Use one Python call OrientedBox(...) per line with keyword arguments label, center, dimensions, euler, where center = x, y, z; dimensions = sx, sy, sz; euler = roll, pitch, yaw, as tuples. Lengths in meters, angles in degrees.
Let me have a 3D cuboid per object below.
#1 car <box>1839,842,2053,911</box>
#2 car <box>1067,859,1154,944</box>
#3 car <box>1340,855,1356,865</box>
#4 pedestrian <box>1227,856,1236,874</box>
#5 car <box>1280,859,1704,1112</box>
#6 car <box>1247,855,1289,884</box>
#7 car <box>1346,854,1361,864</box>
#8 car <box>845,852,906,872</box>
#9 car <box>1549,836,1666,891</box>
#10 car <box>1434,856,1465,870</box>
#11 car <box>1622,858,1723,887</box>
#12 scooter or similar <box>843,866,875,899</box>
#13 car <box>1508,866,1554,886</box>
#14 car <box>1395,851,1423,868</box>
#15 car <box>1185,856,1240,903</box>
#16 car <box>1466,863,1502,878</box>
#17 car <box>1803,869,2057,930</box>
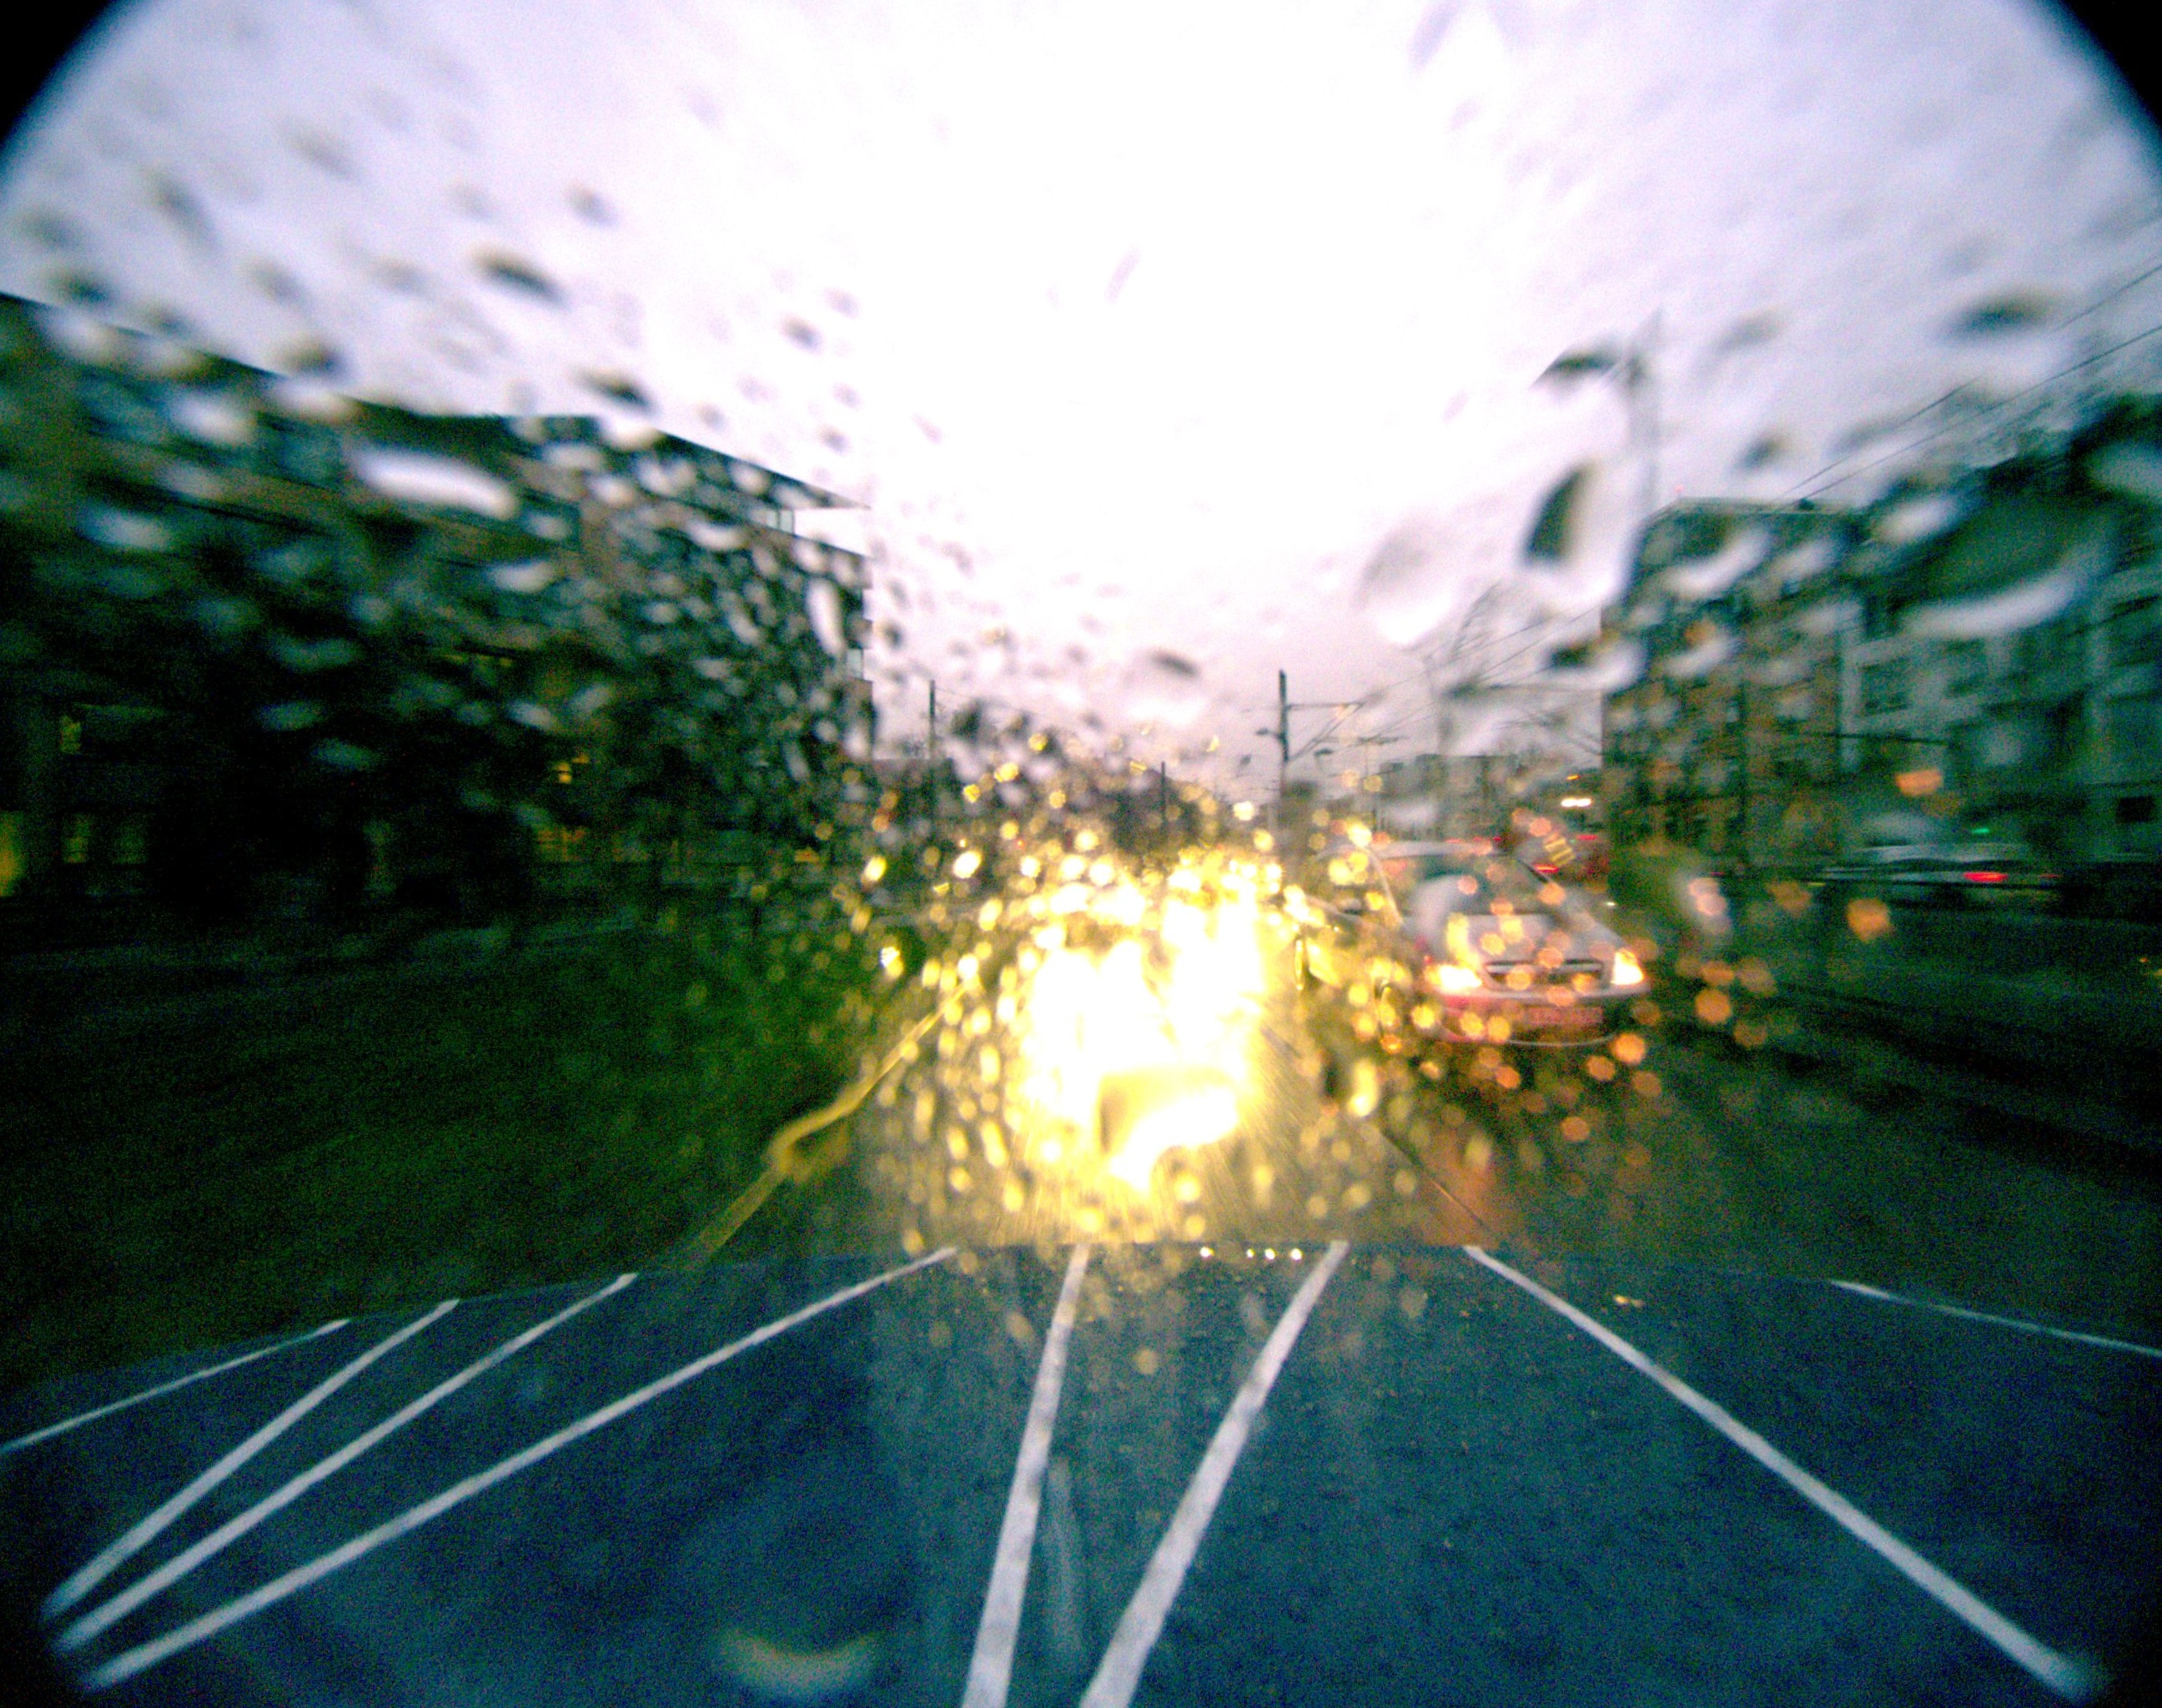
OrientedBox(label="car", center=(26.026, 0.645, 23.103), dimensions=(1.998, 1.929, 3.943), euler=(0, 0, 0))
OrientedBox(label="car", center=(0.610, 0.925, 16.566), dimensions=(1.649, 1.575, 3.805), euler=(-1, 0, 1))
OrientedBox(label="car", center=(42.028, 0.922, 119.640), dimensions=(1.996, 1.635, 4.005), euler=(1, 0, 14))
OrientedBox(label="pedestrian", center=(15.166, 1.099, 76.601), dimensions=(0.572, 1.828, 0.684), euler=(6, 1, 27))
OrientedBox(label="car", center=(3.074, 0.835, 6.755), dimensions=(1.649, 1.539, 4.110), euler=(-1, 0, 2))
OrientedBox(label="car", center=(11.972, 0.956, 48.454), dimensions=(1.816, 1.732, 4.194), euler=(0, 0, 26))
OrientedBox(label="car", center=(44.986, 0.838, 125.528), dimensions=(1.996, 1.635, 4.005), euler=(1, 0, 14))
OrientedBox(label="car", center=(-16.888, 0.635, 62.619), dimensions=(4.510, 1.660, 1.999), euler=(0, 0, -3))
OrientedBox(label="car", center=(23.525, 0.413, 34.256), dimensions=(1.998, 2.296, 5.268), euler=(0, 0, 5))
OrientedBox(label="car", center=(35.208, 0.835, 72.685), dimensions=(1.682, 1.346, 4.392), euler=(0, 0, 13))
OrientedBox(label="car", center=(26.427, 0.793, 34.145), dimensions=(1.540, 1.219, 4.088), euler=(0, 0, 4))
OrientedBox(label="scooter or similar", center=(-8.449, 1.069, 28.936), dimensions=(1.146, 1.224, 0.487), euler=(0, 0, -15))
OrientedBox(label="car", center=(29.093, 1.408, 49.258), dimensions=(1.538, 1.219, 4.092), euler=(0, 0, 16))
OrientedBox(label="car", center=(31.430, 0.515, 72.896), dimensions=(1.682, 1.544, 4.126), euler=(0, 0, 12))
OrientedBox(label="car", center=(4.622, 0.853, 27.008), dimensions=(1.751, 1.535, 4.003), euler=(0, 0, 9))
OrientedBox(label="car", center=(31.681, 1.287, 59.839), dimensions=(1.602, 1.127, 3.794), euler=(0, 0, 14))
OrientedBox(label="car", center=(20.041, 1.011, 18.244), dimensions=(1.540, 1.238, 4.087), euler=(0, 0, 0))
